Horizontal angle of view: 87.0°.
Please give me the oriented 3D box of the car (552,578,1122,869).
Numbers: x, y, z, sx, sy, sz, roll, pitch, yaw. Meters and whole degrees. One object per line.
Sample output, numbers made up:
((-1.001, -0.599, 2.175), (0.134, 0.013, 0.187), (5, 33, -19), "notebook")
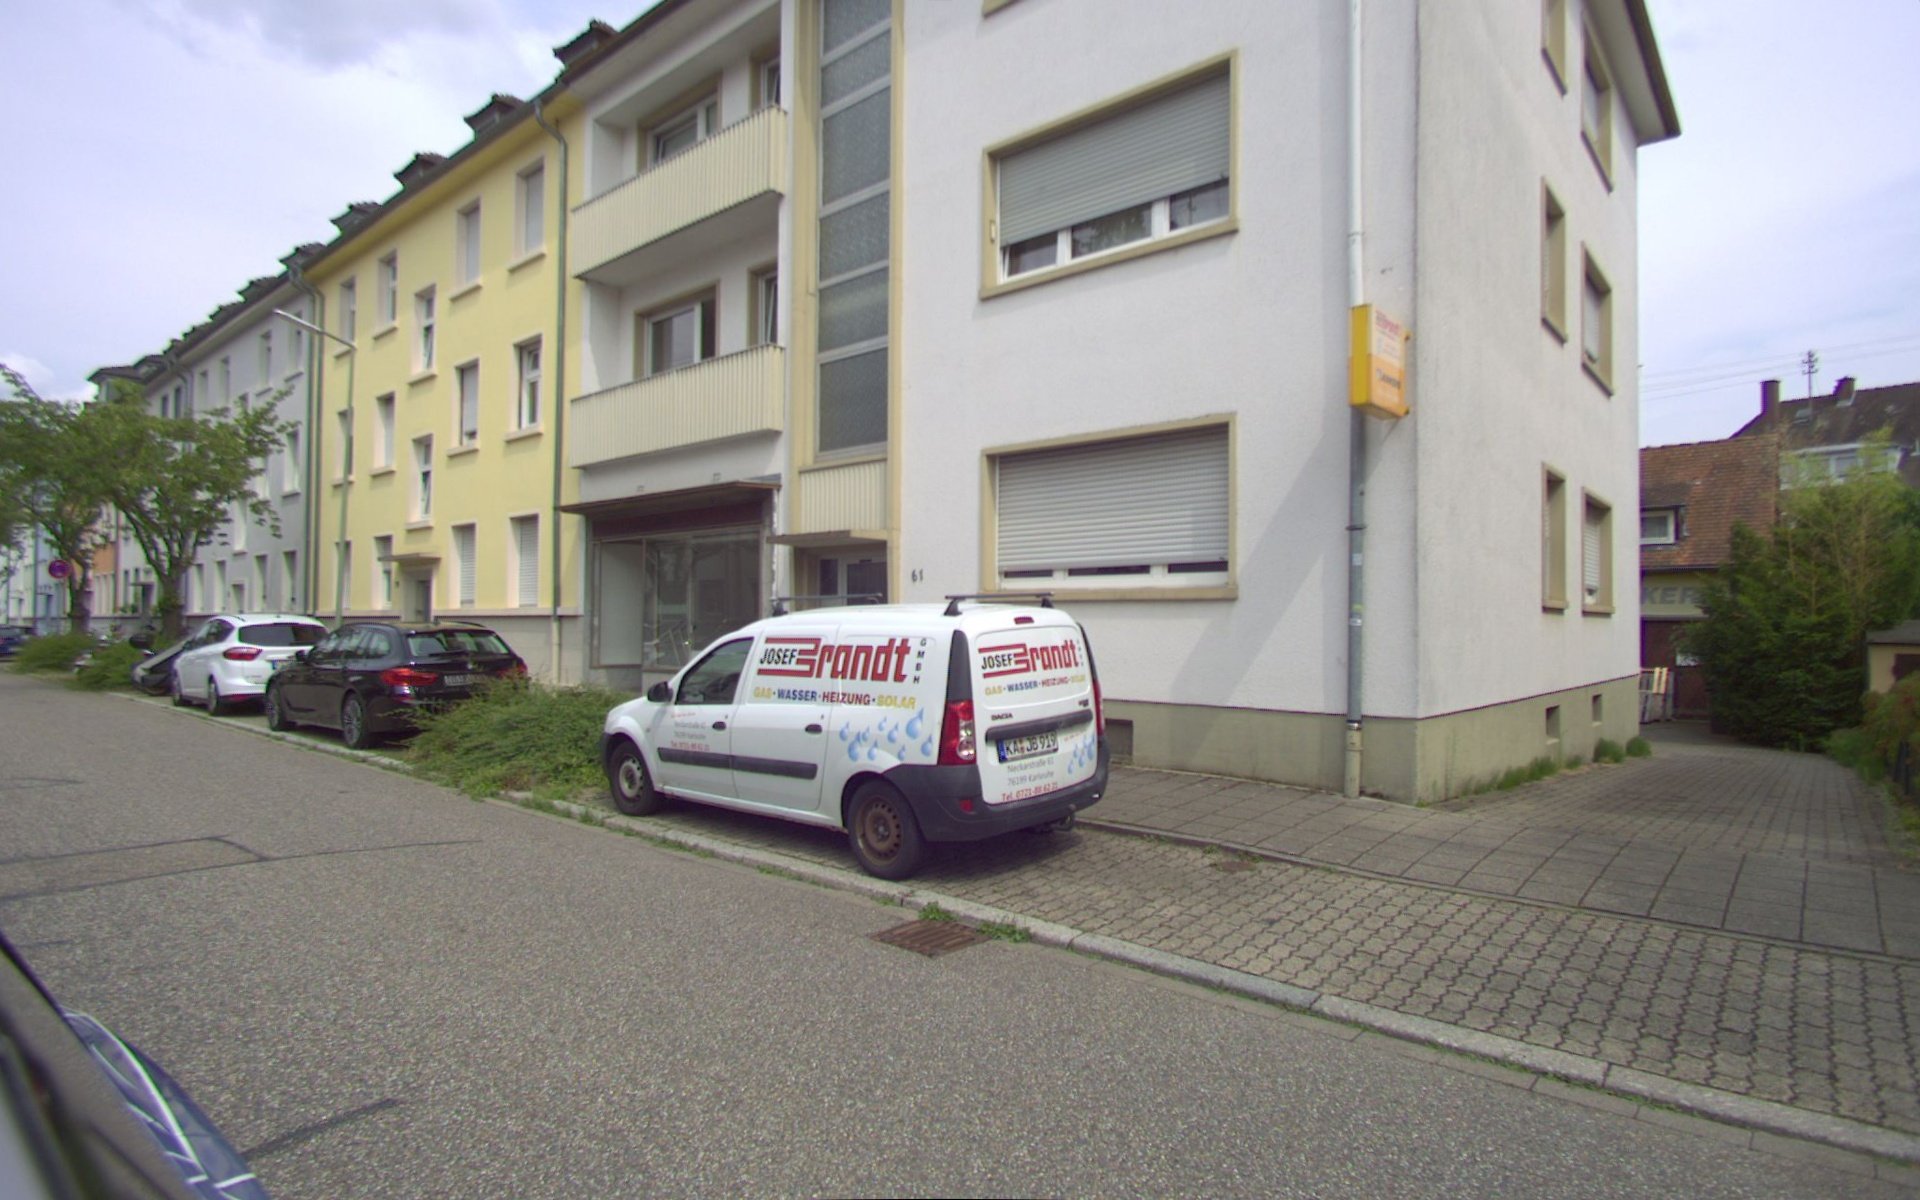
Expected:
((-1.142, 0.763, 7.757), (4.381, 1.593, 1.898), (-1, -4, 42), "car")

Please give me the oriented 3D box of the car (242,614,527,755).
((-7.613, 0.939, 13.158), (4.811, 1.503, 1.771), (-1, -1, 42), "car")

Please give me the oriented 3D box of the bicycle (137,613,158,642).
((-28.373, 0.961, 35.348), (1.434, 0.974, 0.306), (-1, -4, 43), "bicycle")

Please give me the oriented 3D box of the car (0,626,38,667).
((-37.868, 1.825, 39.765), (4.117, 1.495, 1.818), (-1, 1, 40), "car")

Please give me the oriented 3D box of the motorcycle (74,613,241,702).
((-15.557, 1.111, 19.679), (2.438, 1.689, 0.939), (0, -2, -2), "motorcycle")

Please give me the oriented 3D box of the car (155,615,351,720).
((-12.113, 1.070, 17.232), (4.254, 1.568, 1.739), (-1, -3, 41), "car")

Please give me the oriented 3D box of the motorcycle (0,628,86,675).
((-28.835, 1.632, 31.821), (0.782, 1.418, 2.016), (1, -3, 4), "motorcycle")

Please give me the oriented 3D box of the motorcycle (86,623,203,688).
((-19.612, 1.345, 24.413), (0.591, 1.493, 2.228), (1, -3, 14), "motorcycle")

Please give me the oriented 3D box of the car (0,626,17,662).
((-42.497, 1.887, 43.913), (4.089, 1.495, 1.818), (-1, -1, 40), "car")

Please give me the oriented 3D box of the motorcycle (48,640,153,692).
((-20.872, 1.607, 24.622), (0.591, 1.201, 1.903), (1, -3, 14), "motorcycle")

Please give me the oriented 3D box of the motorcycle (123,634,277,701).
((-15.724, 1.412, 21.017), (2.414, 1.321, 0.645), (3, -4, -26), "motorcycle")
